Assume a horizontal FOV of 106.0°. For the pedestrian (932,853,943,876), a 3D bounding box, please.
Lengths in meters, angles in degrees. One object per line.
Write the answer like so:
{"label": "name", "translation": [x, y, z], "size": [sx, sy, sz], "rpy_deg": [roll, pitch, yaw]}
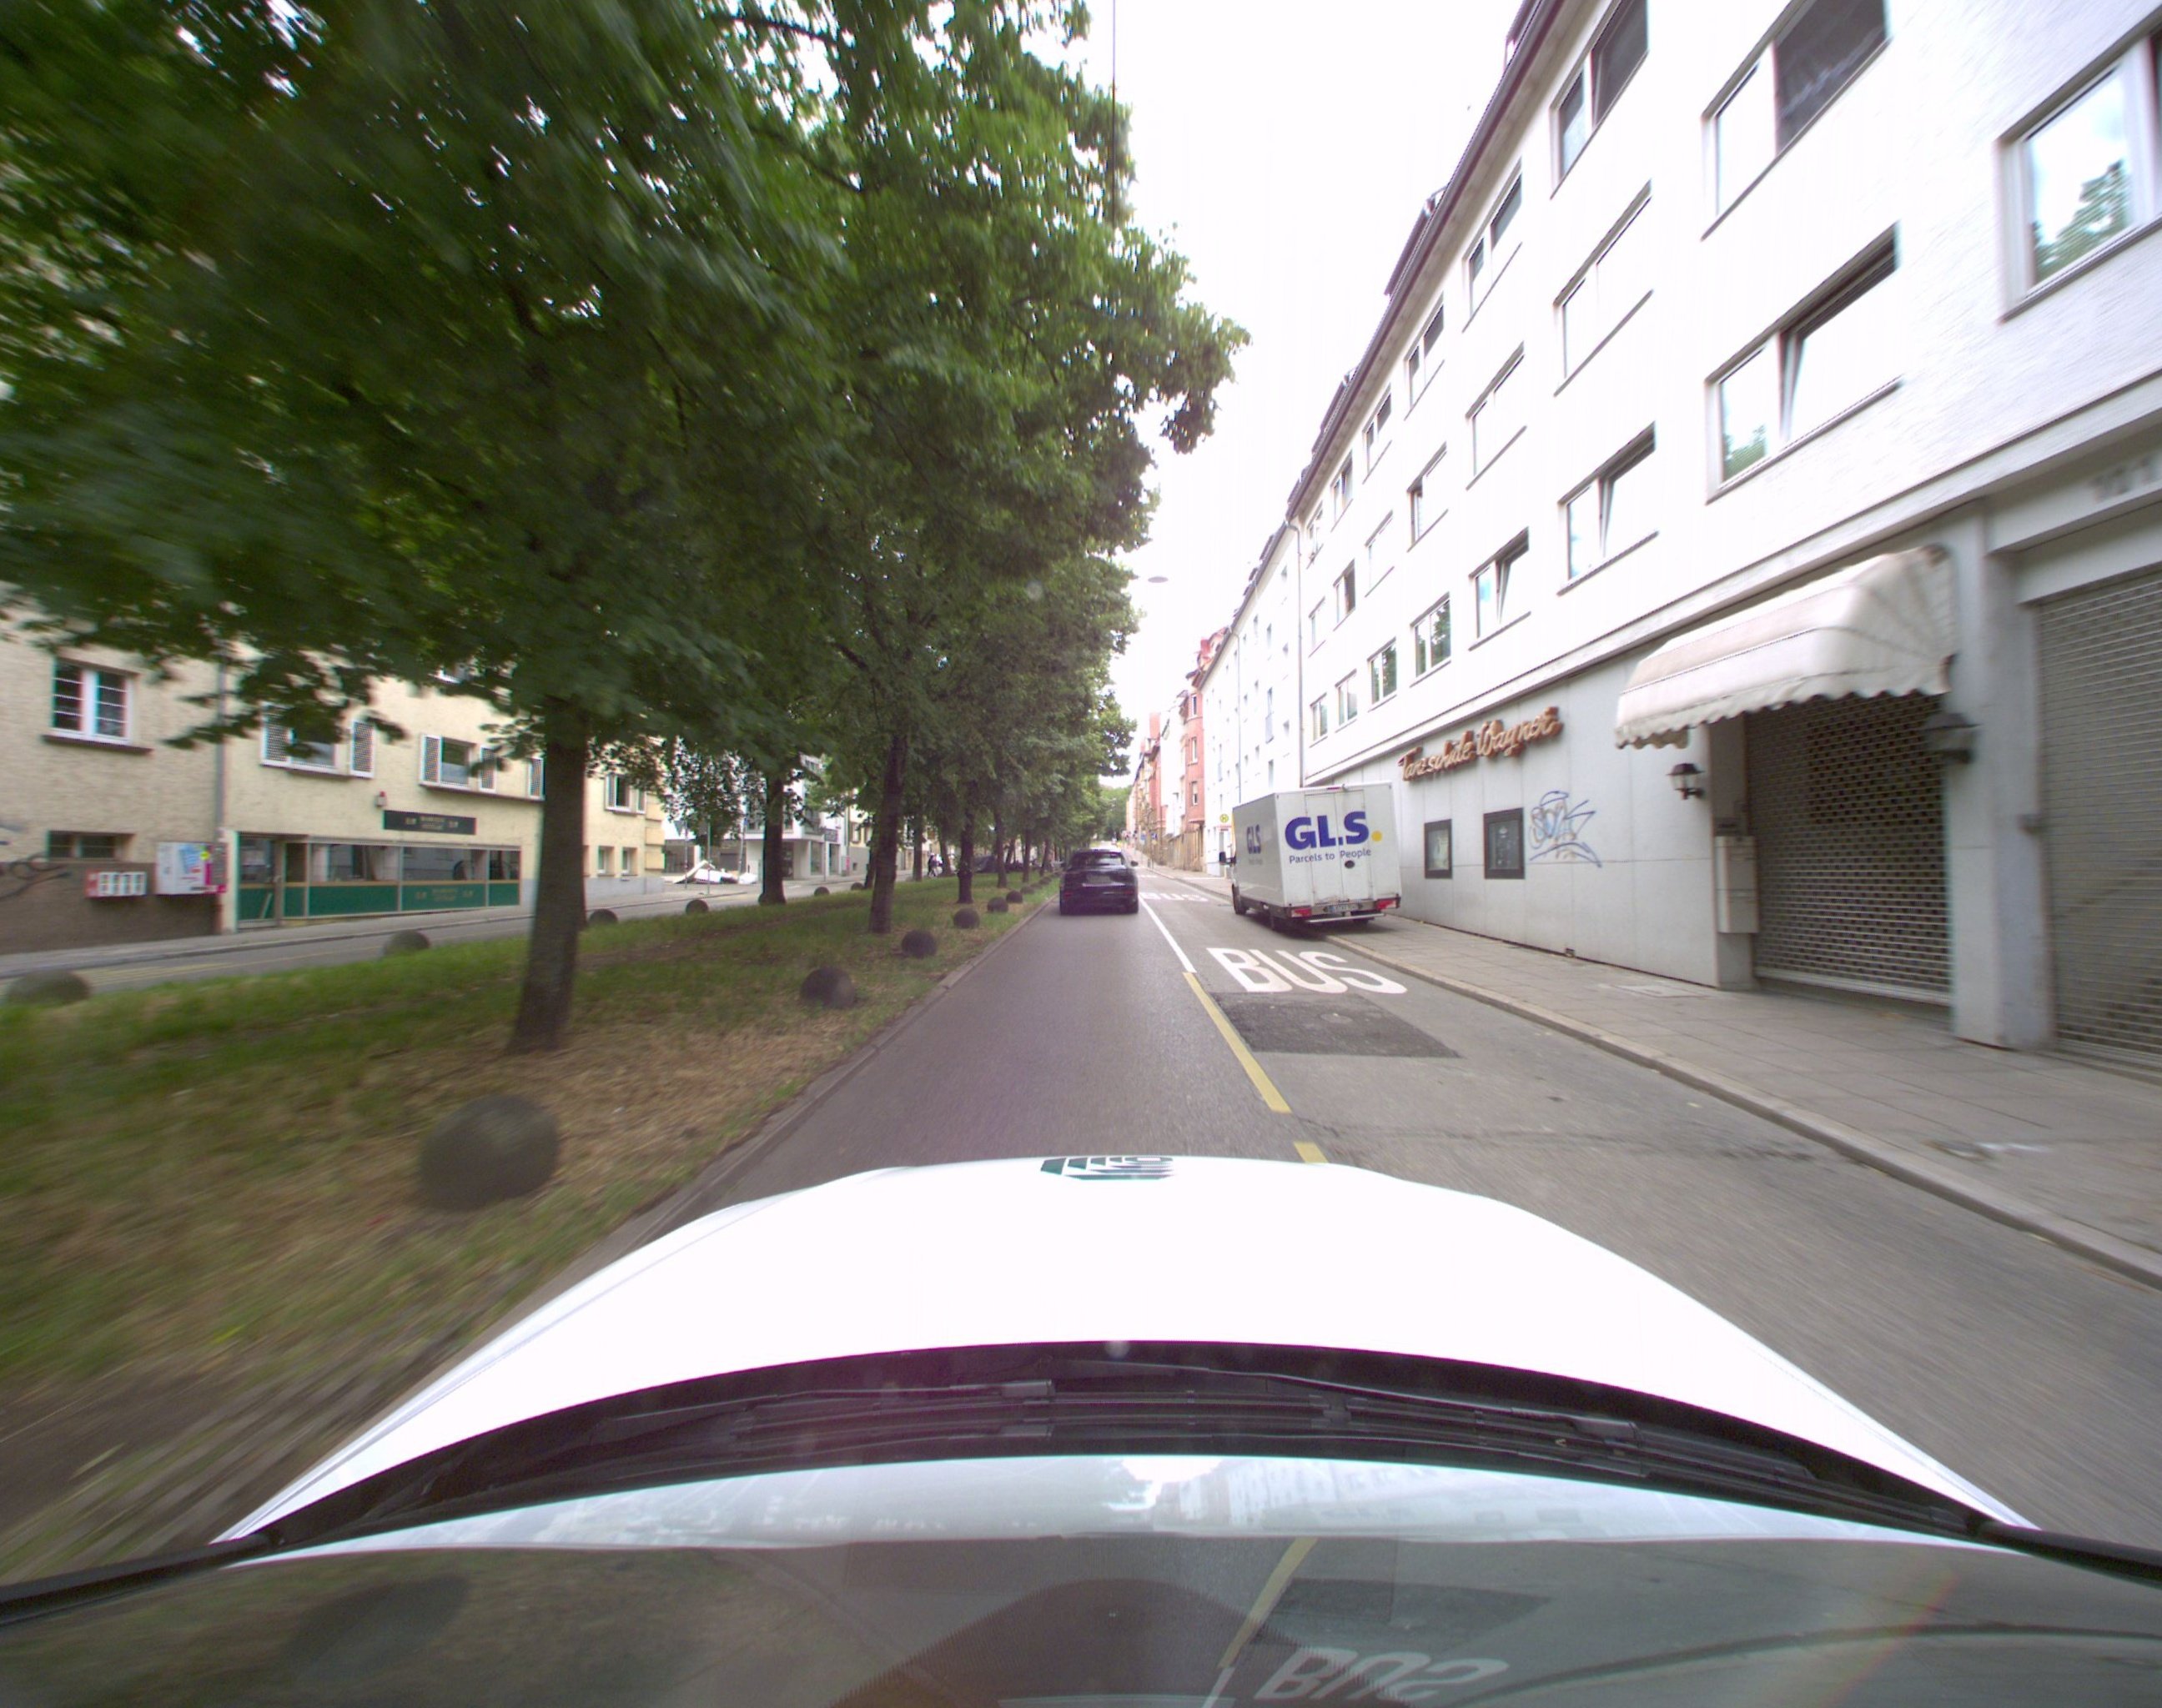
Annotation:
{"label": "pedestrian", "translation": [-10.201, 0.736, 57.919], "size": [0.660, 1.616, 0.580], "rpy_deg": [0, 0, 3]}

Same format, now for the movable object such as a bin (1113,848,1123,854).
{"label": "movable object such as a bin", "translation": [7.620, -0.647, 165.817], "size": [1.244, 1.274, 1.829], "rpy_deg": [0, 0, -29]}

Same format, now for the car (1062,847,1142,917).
{"label": "car", "translation": [0.510, 0.669, 21.516], "size": [1.897, 1.666, 4.135], "rpy_deg": [0, 0, 0]}

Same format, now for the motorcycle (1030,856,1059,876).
{"label": "motorcycle", "translation": [-2.499, 0.846, 55.919], "size": [1.918, 1.297, 0.893], "rpy_deg": [-1, -2, -1]}

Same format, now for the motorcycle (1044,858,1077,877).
{"label": "motorcycle", "translation": [-1.438, 0.966, 58.593], "size": [2.348, 1.235, 1.033], "rpy_deg": [0, 2, 0]}

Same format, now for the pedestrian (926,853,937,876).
{"label": "pedestrian", "translation": [-10.440, 0.732, 56.879], "size": [0.632, 1.613, 0.764], "rpy_deg": [0, 0, 0]}

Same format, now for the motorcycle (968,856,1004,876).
{"label": "motorcycle", "translation": [-6.523, 0.807, 55.945], "size": [2.374, 1.317, 1.045], "rpy_deg": [0, 0, 0]}

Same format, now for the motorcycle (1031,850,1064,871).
{"label": "motorcycle", "translation": [-2.330, 0.468, 56.721], "size": [2.184, 1.438, 0.875], "rpy_deg": [0, 0, 3]}

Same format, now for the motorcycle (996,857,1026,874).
{"label": "motorcycle", "translation": [-5.069, 0.837, 59.124], "size": [2.018, 1.235, 0.898], "rpy_deg": [-1, 0, 6]}

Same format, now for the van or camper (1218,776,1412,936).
{"label": "van or camper", "translation": [4.832, 0.042, 18.334], "size": [2.470, 2.803, 7.242], "rpy_deg": [-2, 0, 2]}

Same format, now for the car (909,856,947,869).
{"label": "car", "translation": [-17.659, 0.972, 94.132], "size": [3.972, 1.497, 2.001], "rpy_deg": [-1, 0, 1]}

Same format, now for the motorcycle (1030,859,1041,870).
{"label": "motorcycle", "translation": [-4.661, 1.064, 83.075], "size": [0.897, 1.107, 2.252], "rpy_deg": [-1, -2, 2]}

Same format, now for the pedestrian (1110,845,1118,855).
{"label": "pedestrian", "translation": [6.818, -0.903, 167.082], "size": [1.309, 2.014, 1.010], "rpy_deg": [0, -1, -29]}
